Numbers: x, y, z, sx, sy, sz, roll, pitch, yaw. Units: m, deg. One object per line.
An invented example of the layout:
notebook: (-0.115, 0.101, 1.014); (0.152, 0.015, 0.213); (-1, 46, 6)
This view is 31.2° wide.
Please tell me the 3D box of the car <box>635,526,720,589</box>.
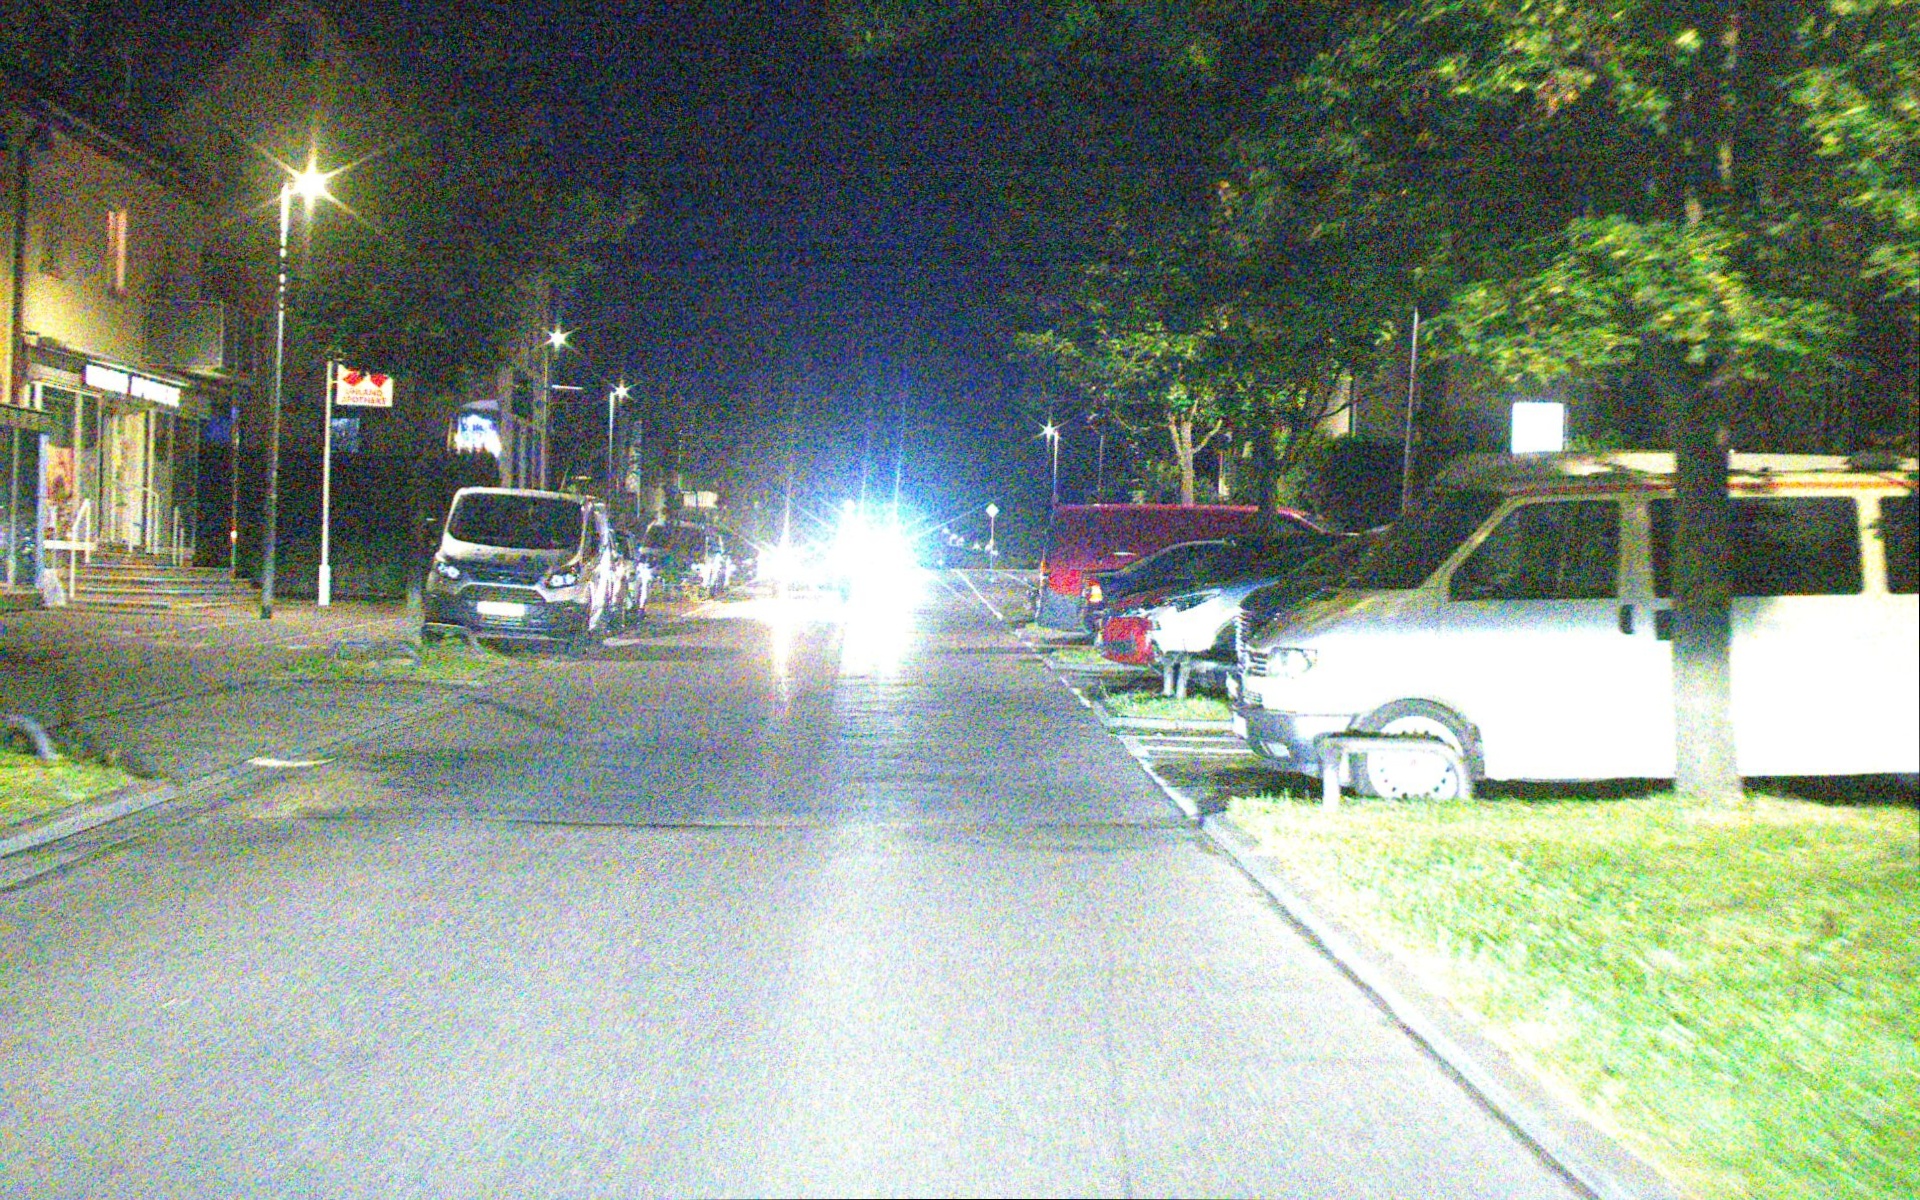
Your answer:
car: (-6.200, -0.946, 75.682); (1.683, 1.326, 3.600); (1, 1, -2)

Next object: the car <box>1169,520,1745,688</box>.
car: (4.698, 0.010, 33.038); (5.182, 1.519, 2.102); (0, 1, -2)

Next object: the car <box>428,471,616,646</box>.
car: (-5.380, -0.535, 42.739); (1.824, 1.980, 4.466); (3, 1, -2)

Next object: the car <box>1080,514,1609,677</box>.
car: (3.904, -0.071, 35.586); (5.182, 1.588, 2.102); (0, 1, -2)

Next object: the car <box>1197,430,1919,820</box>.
car: (4.006, 0.099, 19.048); (5.182, 2.007, 2.102); (0, 1, -2)

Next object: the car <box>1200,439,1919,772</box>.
car: (4.238, 0.002, 22.113); (5.182, 2.007, 2.102); (0, 1, -2)

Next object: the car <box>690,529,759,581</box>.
car: (-6.225, -1.202, 91.037); (1.683, 1.326, 3.600); (1, 1, -2)

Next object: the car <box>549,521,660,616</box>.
car: (-5.640, -0.521, 54.773); (1.534, 1.446, 3.119); (1, 1, -2)

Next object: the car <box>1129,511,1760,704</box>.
car: (4.151, 0.037, 30.095); (5.182, 1.588, 2.102); (0, 1, -2)

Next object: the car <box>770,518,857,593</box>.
car: (-3.297, -1.024, 77.667); (1.927, 1.643, 3.822); (0, 1, -2)

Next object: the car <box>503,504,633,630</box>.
car: (-5.631, -0.493, 49.654); (1.534, 1.682, 3.212); (3, 1, -2)

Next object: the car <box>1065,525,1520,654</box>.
car: (3.916, -0.148, 41.102); (5.182, 1.464, 2.102); (0, 1, -2)

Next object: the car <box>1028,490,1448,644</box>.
car: (3.580, -0.429, 43.767); (5.184, 1.880, 2.101); (0, 1, 9)
